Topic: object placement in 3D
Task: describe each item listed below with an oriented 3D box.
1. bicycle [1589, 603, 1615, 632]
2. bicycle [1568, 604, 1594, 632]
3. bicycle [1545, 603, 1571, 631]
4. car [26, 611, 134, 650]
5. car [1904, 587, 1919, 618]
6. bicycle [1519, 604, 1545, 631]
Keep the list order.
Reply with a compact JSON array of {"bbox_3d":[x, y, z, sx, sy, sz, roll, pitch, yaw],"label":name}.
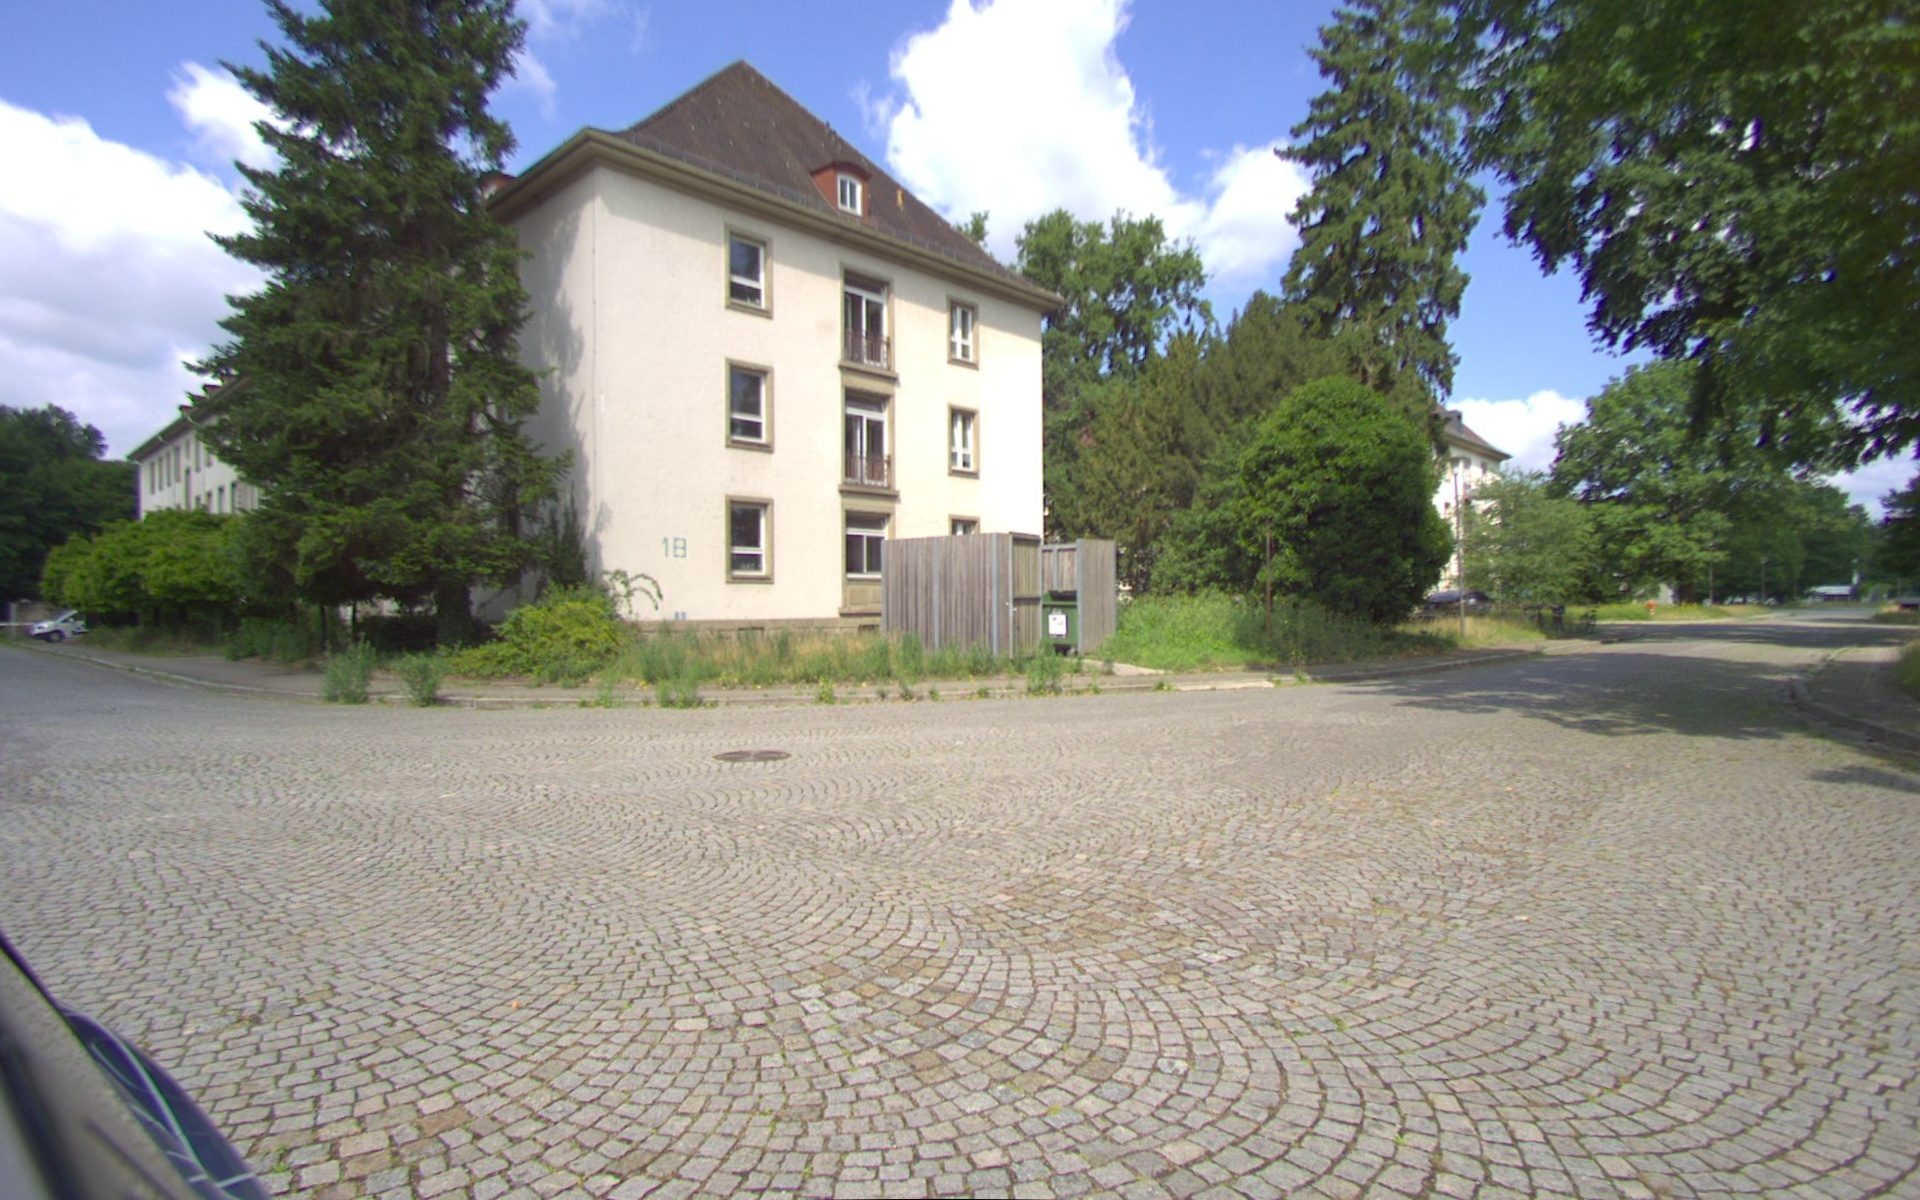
[{"bbox_3d":[25.646,0.695,40.429,0.559,1.106,2.185,-1,0,40],"label":"bicycle"},{"bbox_3d":[24.947,0.711,40.655,0.559,1.106,2.185,-1,0,40],"label":"bicycle"},{"bbox_3d":[24.648,0.708,41.730,0.559,1.106,2.185,-1,0,40],"label":"bicycle"},{"bbox_3d":[-48.958,1.645,56.345,1.819,1.819,4.258,-1,2,40],"label":"car"},{"bbox_3d":[65.292,0.144,65.503,1.969,2.007,6.011,-2,1,-42],"label":"car"},{"bbox_3d":[23.959,0.720,42.358,0.559,1.106,2.185,-1,0,40],"label":"bicycle"}]
